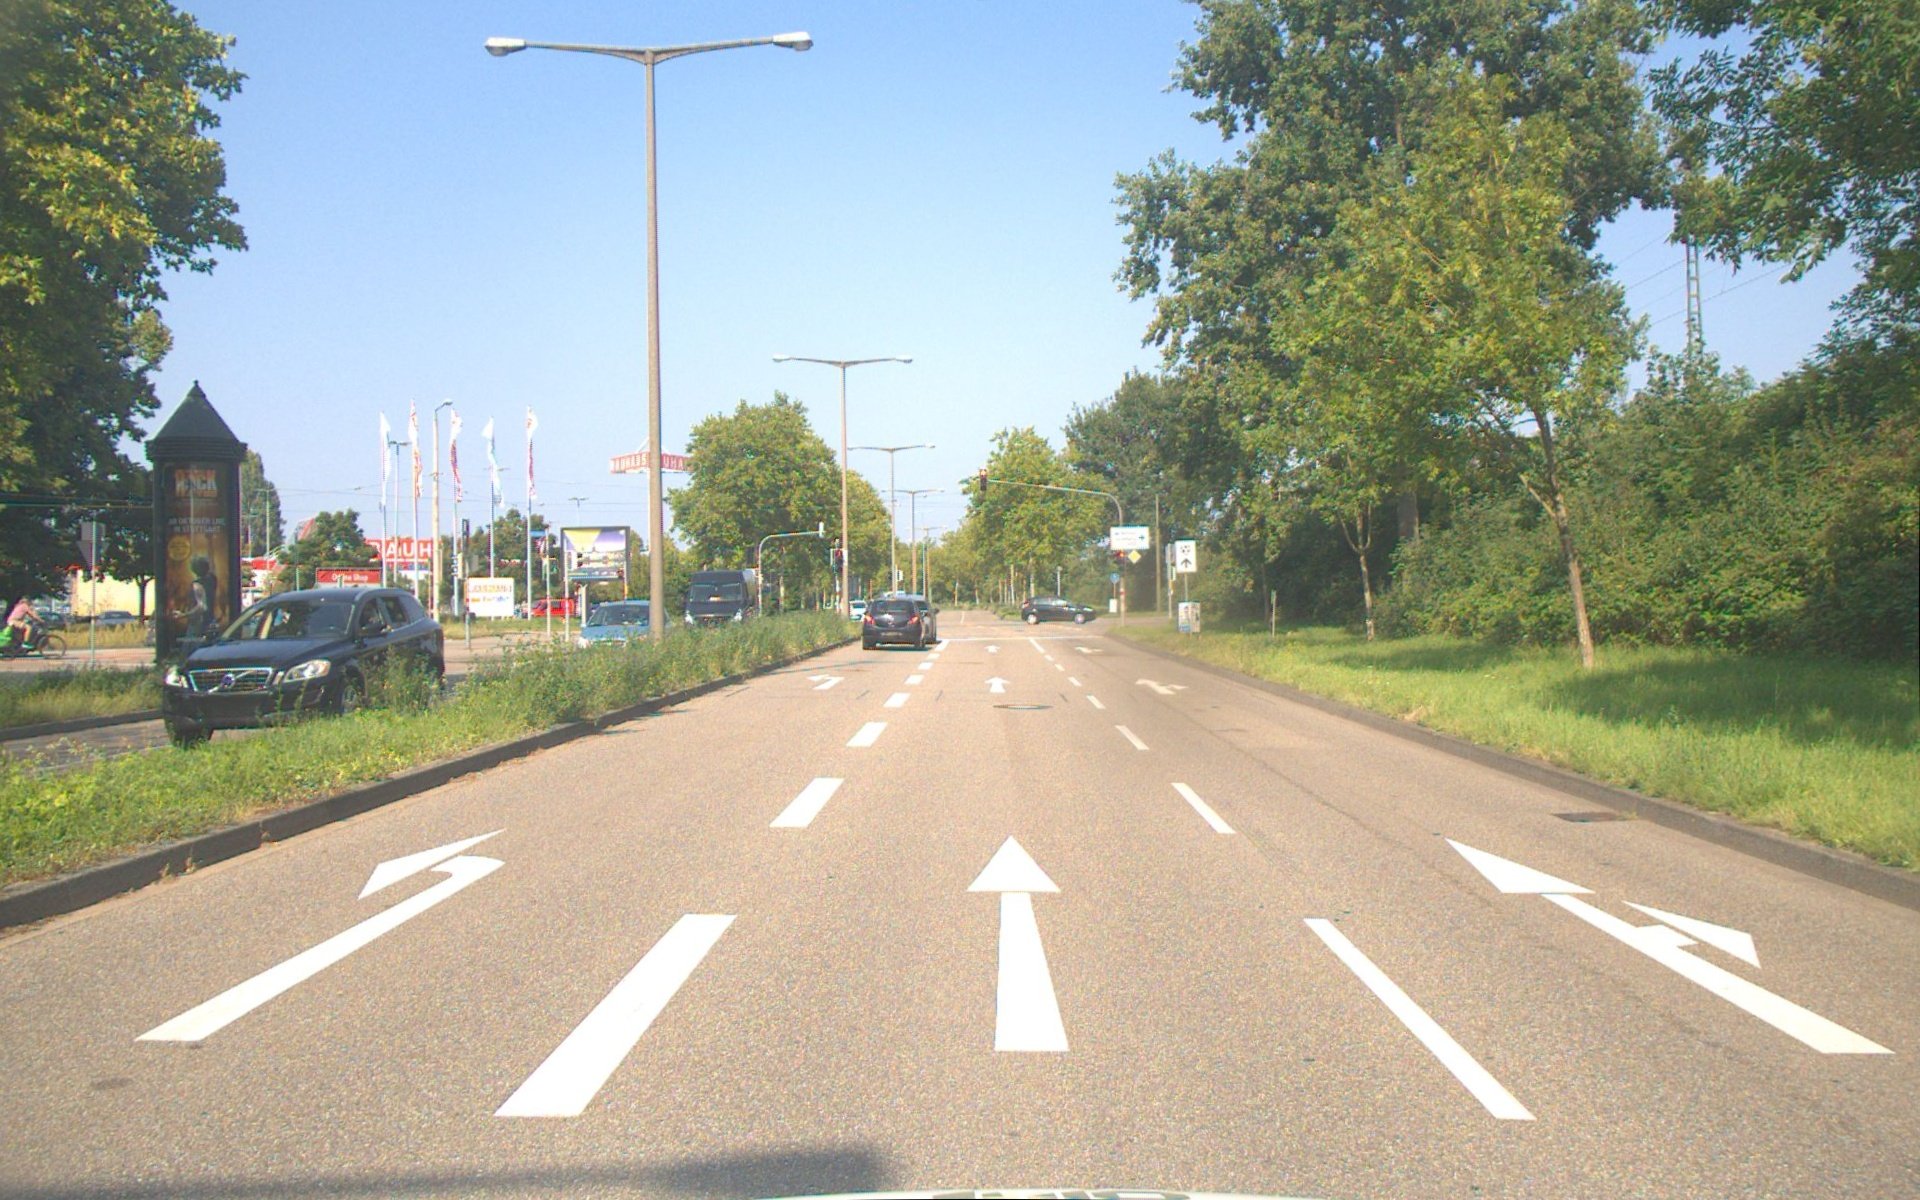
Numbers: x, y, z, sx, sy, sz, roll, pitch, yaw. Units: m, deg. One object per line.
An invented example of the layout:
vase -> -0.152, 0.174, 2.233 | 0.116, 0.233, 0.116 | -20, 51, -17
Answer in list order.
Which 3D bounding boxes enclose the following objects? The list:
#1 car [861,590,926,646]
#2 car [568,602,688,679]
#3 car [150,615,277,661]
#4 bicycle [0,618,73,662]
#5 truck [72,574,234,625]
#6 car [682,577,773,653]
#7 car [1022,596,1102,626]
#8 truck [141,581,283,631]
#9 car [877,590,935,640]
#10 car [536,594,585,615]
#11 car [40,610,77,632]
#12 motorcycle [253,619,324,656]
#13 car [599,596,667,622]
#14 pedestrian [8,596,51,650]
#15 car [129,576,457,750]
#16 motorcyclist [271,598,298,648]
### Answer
car -> -1.874, 0.504, 47.509 | 1.657, 1.512, 4.000 | 0, 0, 1
car -> -7.195, 0.844, 36.207 | 1.736, 1.601, 4.000 | 0, 0, 1
car -> -24.871, 1.242, 55.138 | 3.660, 1.468, 1.448 | 0, 0, -36
bicycle -> -27.874, 1.185, 49.457 | 2.333, 1.257, 0.863 | 0, 0, -35
truck -> -51.615, -0.061, 105.911 | 8.911, 3.009, 3.471 | -2, 0, -35
car -> -7.605, 0.481, 54.755 | 2.068, 2.373, 6.282 | 0, 0, 1
car -> 5.262, 0.565, 85.355 | 3.877, 1.560, 1.825 | 0, 0, 13
truck -> -36.197, 0.292, 80.129 | 5.860, 2.370, 2.105 | 0, 0, -2
car -> -1.699, 0.453, 53.510 | 1.657, 1.512, 4.000 | -1, 0, 1
car -> -38.630, 0.440, 160.081 | 1.965, 2.049, 4.263 | -1, 0, 43
car -> -48.452, 1.119, 88.872 | 1.589, 1.155, 3.380 | 0, 0, -31
motorcycle -> -21.851, 1.199, 53.797 | 2.052, 1.156, 0.669 | 0, -1, -35
car -> -17.998, 0.490, 91.139 | 3.303, 1.156, 1.495 | -4, 0, 9
pedestrian -> -27.833, 0.677, 49.488 | 1.046, 1.602, 0.858 | 0, -1, -35
car -> -7.385, 0.638, 18.875 | 1.953, 1.736, 4.504 | 0, 0, -1
motorcyclist -> -21.948, 0.746, 53.738 | 0.676, 1.599, 0.675 | 0, -1, -35
